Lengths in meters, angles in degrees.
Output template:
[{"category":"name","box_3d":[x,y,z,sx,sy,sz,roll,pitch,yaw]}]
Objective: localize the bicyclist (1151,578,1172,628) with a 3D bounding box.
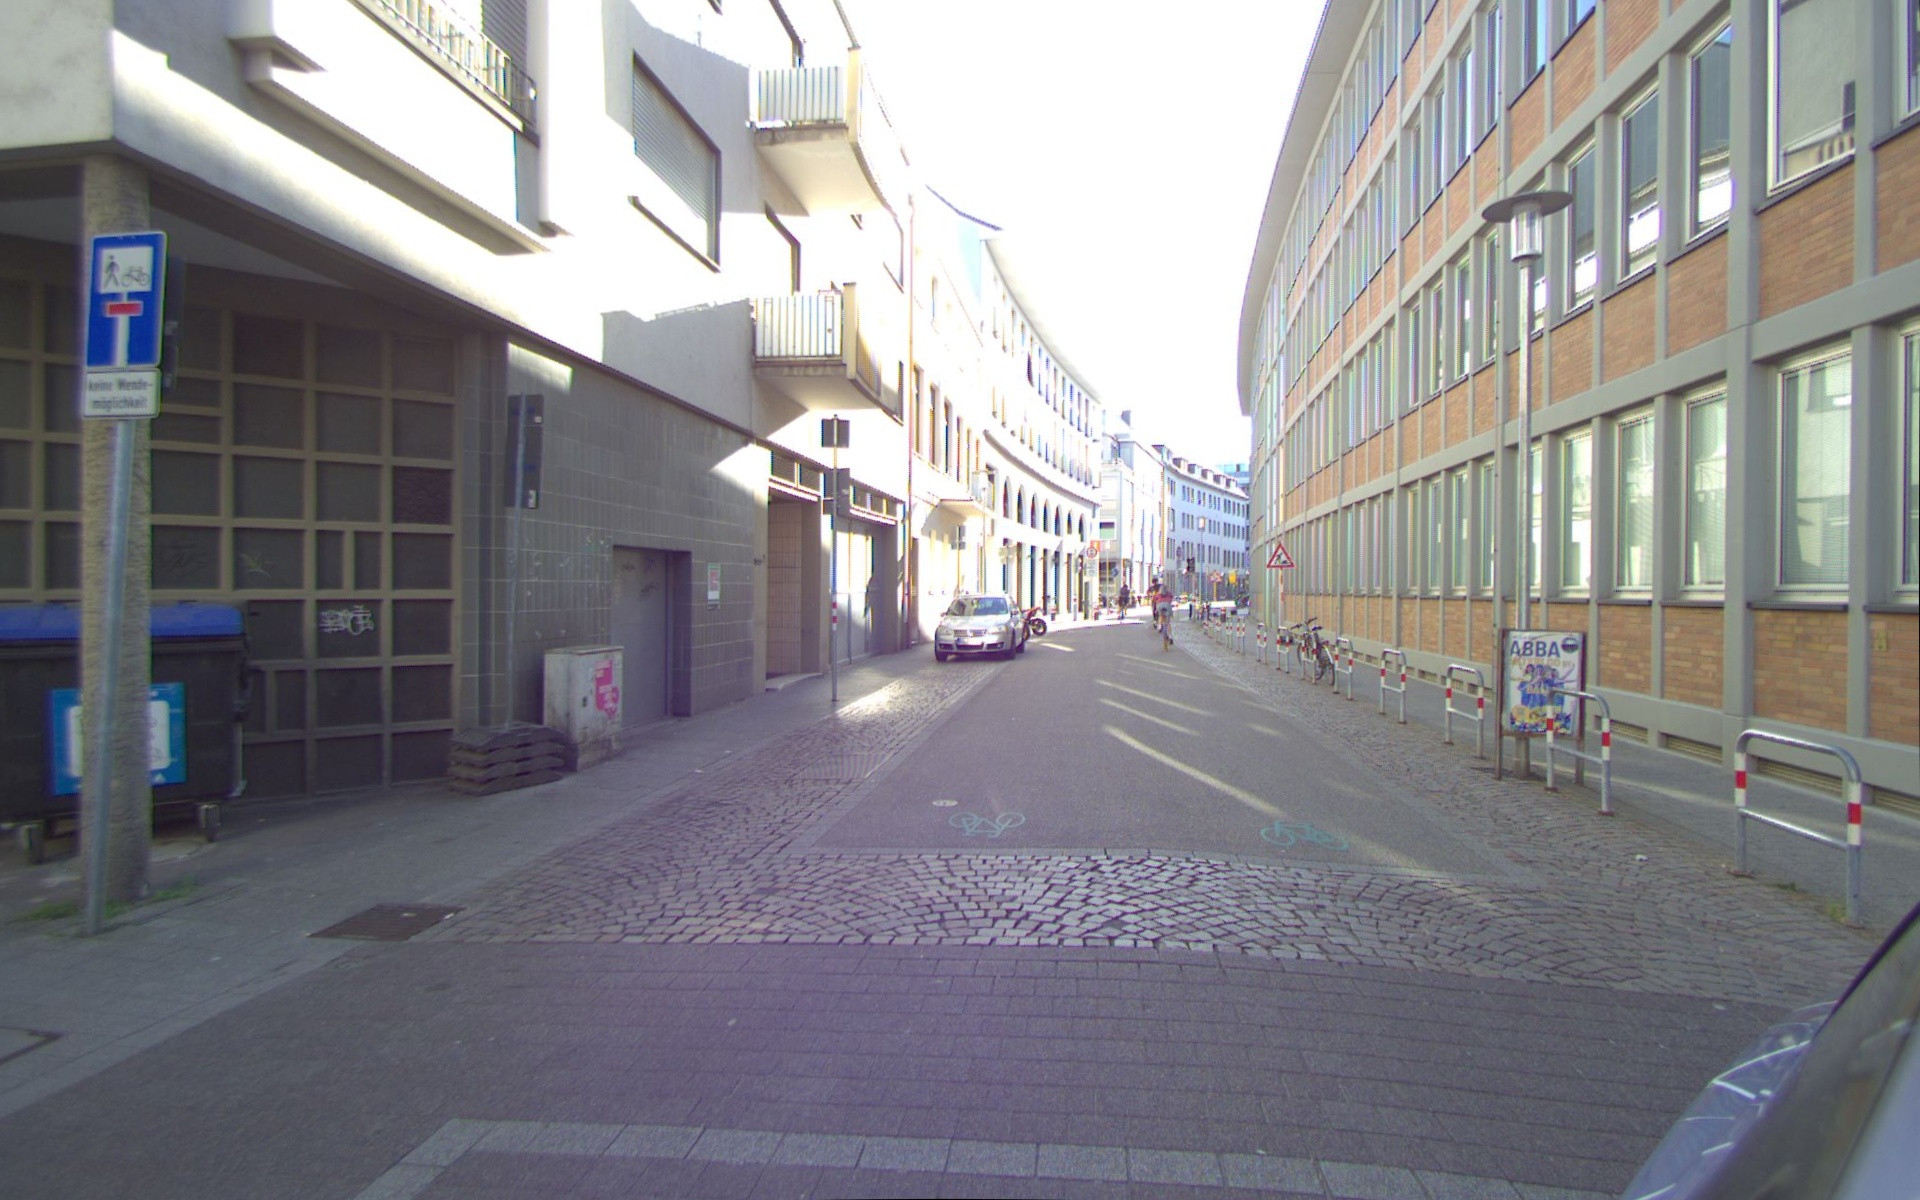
[{"category":"bicyclist","box_3d":[6.966,0.093,34.970,0.610,1.687,0.822,2,1,8]}]

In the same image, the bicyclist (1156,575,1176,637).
[{"category":"bicyclist","box_3d":[5.209,0.134,25.578,0.421,1.516,0.873,1,1,9]}]

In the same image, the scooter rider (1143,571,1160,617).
[{"category":"scooter rider","box_3d":[7.367,-0.222,38.994,0.638,1.747,0.700,0,1,9]}]

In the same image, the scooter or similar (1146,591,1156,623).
[{"category":"scooter or similar","box_3d":[7.336,0.287,38.880,0.331,1.201,1.275,2,-1,9]}]

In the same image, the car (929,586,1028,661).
[{"category":"car","box_3d":[0.504,0.471,22.963,1.741,1.489,3.804,-2,1,9]}]

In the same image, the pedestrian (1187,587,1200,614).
[{"category":"pedestrian","box_3d":[12.559,0.040,54.421,0.649,1.459,0.594,0,0,11]}]

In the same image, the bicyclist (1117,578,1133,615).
[{"category":"bicyclist","box_3d":[7.127,-0.170,43.727,0.639,1.578,1.106,-1,0,10]}]

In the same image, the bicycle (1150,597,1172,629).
[{"category":"bicycle","box_3d":[6.958,0.438,35.086,0.581,1.065,1.797,2,1,7]}]

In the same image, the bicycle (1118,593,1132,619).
[{"category":"bicycle","box_3d":[7.142,0.258,43.780,0.565,1.064,1.831,0,1,10]}]

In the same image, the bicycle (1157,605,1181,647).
[{"category":"bicycle","box_3d":[5.231,0.644,25.380,0.429,0.969,1.587,3,1,8]}]

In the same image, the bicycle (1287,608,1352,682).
[{"category":"bicycle","box_3d":[6.005,0.721,16.992,0.627,1.130,1.927,0,1,7]}]

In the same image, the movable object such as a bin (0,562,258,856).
[{"category":"movable object such as a bin","box_3d":[-5.165,0.572,6.302,1.267,1.609,1.155,-1,2,-37]}]
